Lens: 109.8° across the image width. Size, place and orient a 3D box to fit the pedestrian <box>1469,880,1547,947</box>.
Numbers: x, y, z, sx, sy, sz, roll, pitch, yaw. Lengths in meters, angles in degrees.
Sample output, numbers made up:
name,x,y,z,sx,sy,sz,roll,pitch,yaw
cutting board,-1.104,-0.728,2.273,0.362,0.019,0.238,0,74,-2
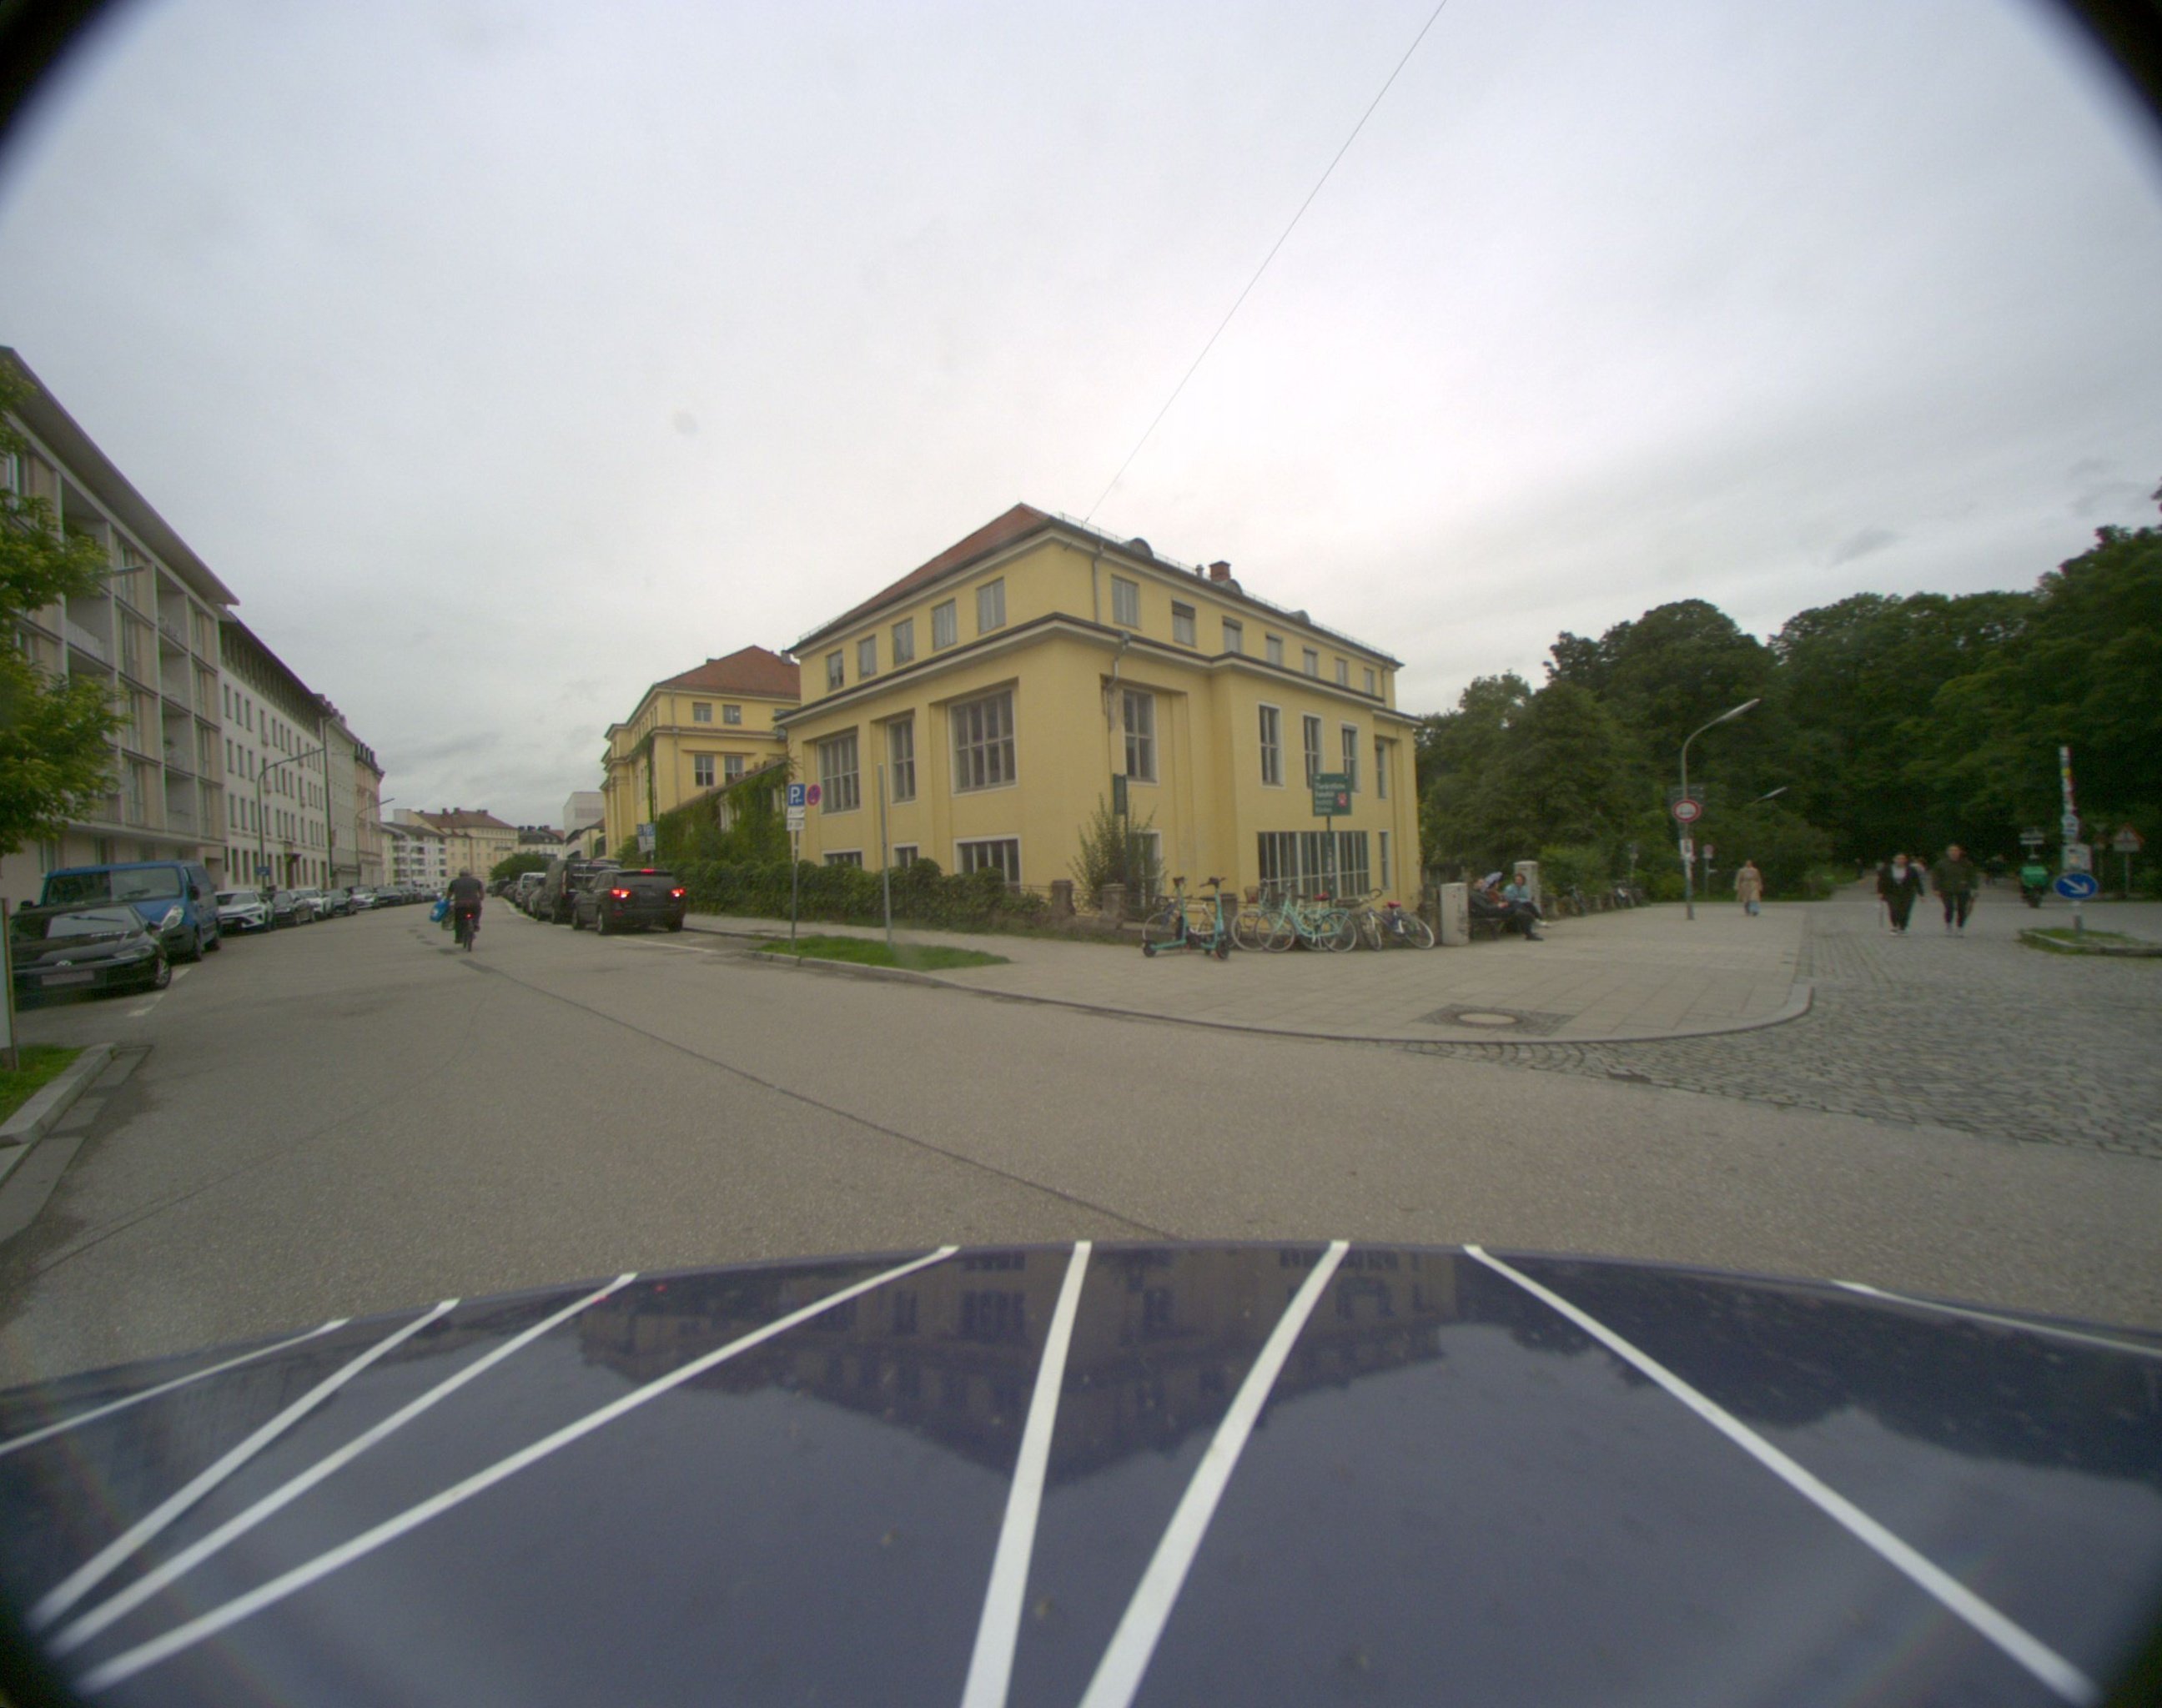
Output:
name,x,y,z,sx,sy,sz,roll,pitch,yaw
pedestrian,8.241,1.143,14.690,1.213,1.239,0.641,-3,-4,34

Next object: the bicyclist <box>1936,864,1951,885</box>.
name,x,y,z,sx,sy,sz,roll,pitch,yaw
bicyclist,52.726,1.240,46.456,0.563,1.258,0.763,-2,2,45

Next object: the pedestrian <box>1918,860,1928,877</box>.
name,x,y,z,sx,sy,sz,roll,pitch,yaw
pedestrian,63.714,1.068,57.472,0.470,1.258,0.449,-2,2,45

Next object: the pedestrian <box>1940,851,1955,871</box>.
name,x,y,z,sx,sy,sz,roll,pitch,yaw
pedestrian,74.040,0.574,64.919,0.923,1.661,0.741,2,-5,-45

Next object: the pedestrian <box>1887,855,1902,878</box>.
name,x,y,z,sx,sy,sz,roll,pitch,yaw
pedestrian,61.400,0.933,57.331,0.775,1.661,0.684,2,-5,-45

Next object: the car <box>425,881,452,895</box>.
name,x,y,z,sx,sy,sz,roll,pitch,yaw
car,-76.866,4.067,90.950,1.896,1.447,4.729,-7,2,-35

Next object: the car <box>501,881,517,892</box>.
name,x,y,z,sx,sy,sz,roll,pitch,yaw
car,-89.604,5.088,119.010,1.774,1.521,3.990,-3,1,-34

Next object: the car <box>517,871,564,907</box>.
name,x,y,z,sx,sy,sz,roll,pitch,yaw
car,-29.728,1.905,41.744,1.980,1.825,4.670,0,-1,-36

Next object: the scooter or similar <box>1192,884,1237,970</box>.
name,x,y,z,sx,sy,sz,roll,pitch,yaw
scooter or similar,2.016,1.078,11.524,0.323,1.205,1.117,-1,-1,-8

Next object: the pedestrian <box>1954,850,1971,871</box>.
name,x,y,z,sx,sy,sz,roll,pitch,yaw
pedestrian,74.578,0.553,64.287,0.923,1.661,0.741,2,-5,-45

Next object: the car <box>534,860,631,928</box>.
name,x,y,z,sx,sy,sz,roll,pitch,yaw
car,-16.714,1.267,25.379,1.981,2.059,4.669,0,-1,-42

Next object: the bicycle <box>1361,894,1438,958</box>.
name,x,y,z,sx,sy,sz,roll,pitch,yaw
bicycle,5.553,1.235,13.214,1.657,1.032,0.307,1,0,-31

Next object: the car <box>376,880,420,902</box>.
name,x,y,z,sx,sy,sz,roll,pitch,yaw
car,-53.066,2.874,59.122,1.896,1.447,4.729,-7,2,-35

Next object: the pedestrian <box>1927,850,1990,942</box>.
name,x,y,z,sx,sy,sz,roll,pitch,yaw
pedestrian,16.414,0.785,14.233,0.775,1.661,0.638,2,-5,-45

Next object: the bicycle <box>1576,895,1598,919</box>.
name,x,y,z,sx,sy,sz,roll,pitch,yaw
bicycle,15.005,1.572,22.539,0.911,0.672,0.215,1,0,-34

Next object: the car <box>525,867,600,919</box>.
name,x,y,z,sx,sy,sz,roll,pitch,yaw
car,-20.216,1.478,29.543,1.981,1.825,4.670,0,-1,-39

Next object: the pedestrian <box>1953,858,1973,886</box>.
name,x,y,z,sx,sy,sz,roll,pitch,yaw
pedestrian,53.457,1.103,46.060,0.775,1.661,0.684,2,-5,-45

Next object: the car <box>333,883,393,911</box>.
name,x,y,z,sx,sy,sz,roll,pitch,yaw
car,-44.020,2.597,46.672,1.896,1.447,4.729,-7,2,-35

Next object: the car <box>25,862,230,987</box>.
name,x,y,z,sx,sy,sz,roll,pitch,yaw
car,-20.354,1.339,16.481,1.987,2.158,4.700,-7,5,-44

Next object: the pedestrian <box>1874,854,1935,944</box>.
name,x,y,z,sx,sy,sz,roll,pitch,yaw
pedestrian,15.883,0.868,14.675,0.775,1.661,0.684,2,-5,-45

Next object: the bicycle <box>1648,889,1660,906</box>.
name,x,y,z,sx,sy,sz,roll,pitch,yaw
bicycle,23.172,1.750,30.724,0.911,0.653,0.241,1,-1,-45

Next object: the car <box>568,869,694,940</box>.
name,x,y,z,sx,sy,sz,roll,pitch,yaw
car,-12.479,1.319,20.917,1.941,1.698,4.613,0,-1,-44

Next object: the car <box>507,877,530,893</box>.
name,x,y,z,sx,sy,sz,roll,pitch,yaw
car,-65.672,3.578,88.658,1.981,1.825,4.670,0,-1,-38

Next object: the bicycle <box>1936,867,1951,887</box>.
name,x,y,z,sx,sy,sz,roll,pitch,yaw
bicycle,52.747,1.406,46.450,0.463,1.054,1.765,-2,2,45

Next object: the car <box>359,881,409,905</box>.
name,x,y,z,sx,sy,sz,roll,pitch,yaw
car,-49.563,2.745,54.105,1.896,1.447,4.729,-7,2,-35

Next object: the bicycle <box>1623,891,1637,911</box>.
name,x,y,z,sx,sy,sz,roll,pitch,yaw
bicycle,19.906,1.697,27.555,0.911,0.672,0.215,1,-1,-43

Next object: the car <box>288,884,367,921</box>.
name,x,y,z,sx,sy,sz,roll,pitch,yaw
car,-37.036,2.336,37.463,1.896,1.447,4.591,-7,2,-35

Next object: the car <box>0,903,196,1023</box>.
name,x,y,z,sx,sy,sz,roll,pitch,yaw
car,-15.893,1.635,12.161,1.783,1.388,3.794,-7,4,-44

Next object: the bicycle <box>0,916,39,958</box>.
name,x,y,z,sx,sy,sz,roll,pitch,yaw
bicycle,-29.245,2.261,20.888,1.960,1.046,0.438,-2,-1,44

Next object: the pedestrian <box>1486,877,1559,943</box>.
name,x,y,z,sx,sy,sz,roll,pitch,yaw
pedestrian,8.916,1.129,15.353,1.175,1.285,0.641,-3,-4,34

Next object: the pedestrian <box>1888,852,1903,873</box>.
name,x,y,z,sx,sy,sz,roll,pitch,yaw
pedestrian,66.286,0.733,61.826,0.775,1.661,0.684,2,-5,-45

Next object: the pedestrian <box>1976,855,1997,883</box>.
name,x,y,z,sx,sy,sz,roll,pitch,yaw
pedestrian,55.745,0.947,46.786,0.775,1.661,0.684,2,-5,-45

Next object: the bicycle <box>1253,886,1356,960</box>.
name,x,y,z,sx,sy,sz,roll,pitch,yaw
bicycle,3.668,1.133,12.484,1.654,1.191,0.169,1,0,-4

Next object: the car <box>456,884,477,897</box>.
name,x,y,z,sx,sy,sz,roll,pitch,yaw
car,-73.298,4.314,90.703,1.797,1.334,3.826,-3,1,-38

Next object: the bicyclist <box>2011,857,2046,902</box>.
name,x,y,z,sx,sy,sz,roll,pitch,yaw
bicyclist,29.544,0.798,23.705,0.563,1.366,0.763,-2,-2,45

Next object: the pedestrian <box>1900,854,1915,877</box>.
name,x,y,z,sx,sy,sz,roll,pitch,yaw
pedestrian,63.536,0.898,58.397,0.775,1.661,0.684,2,-5,-45

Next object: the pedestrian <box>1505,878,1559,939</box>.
name,x,y,z,sx,sy,sz,roll,pitch,yaw
pedestrian,9.386,1.132,15.807,0.885,1.227,0.552,-3,-4,34

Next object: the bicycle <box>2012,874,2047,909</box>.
name,x,y,z,sx,sy,sz,roll,pitch,yaw
bicycle,29.533,1.145,23.668,0.463,1.053,1.765,-2,-2,45

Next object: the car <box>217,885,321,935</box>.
name,x,y,z,sx,sy,sz,roll,pitch,yaw
car,-31.401,2.104,29.537,1.964,1.553,4.600,-7,2,-38

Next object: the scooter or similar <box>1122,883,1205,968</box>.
name,x,y,z,sx,sy,sz,roll,pitch,yaw
scooter or similar,1.320,1.097,12.018,1.393,1.240,0.396,0,-1,-37

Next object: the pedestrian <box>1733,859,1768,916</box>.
name,x,y,z,sx,sy,sz,roll,pitch,yaw
pedestrian,20.368,1.030,23.106,0.977,1.675,0.652,2,-5,-45

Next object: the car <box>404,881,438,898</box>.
name,x,y,z,sx,sy,sz,roll,pitch,yaw
car,-63.237,3.370,72.857,1.896,1.447,4.729,-7,2,-35

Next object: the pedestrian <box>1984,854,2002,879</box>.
name,x,y,z,sx,sy,sz,roll,pitch,yaw
pedestrian,63.501,0.895,52.913,0.775,1.661,0.684,2,-5,-45

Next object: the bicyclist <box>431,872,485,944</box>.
name,x,y,z,sx,sy,sz,roll,pitch,yaw
bicyclist,-13.078,1.101,15.962,0.844,1.449,0.742,0,-1,-40

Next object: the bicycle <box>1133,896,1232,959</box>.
name,x,y,z,sx,sy,sz,roll,pitch,yaw
bicycle,1.717,1.224,12.912,1.650,0.987,0.249,0,0,21

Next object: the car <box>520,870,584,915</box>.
name,x,y,z,sx,sy,sz,roll,pitch,yaw
car,-23.505,1.650,33.687,1.981,1.825,4.670,0,-1,-39

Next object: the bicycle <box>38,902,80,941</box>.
name,x,y,z,sx,sy,sz,roll,pitch,yaw
bicycle,-29.274,1.912,21.781,1.836,1.046,0.464,-2,-1,44

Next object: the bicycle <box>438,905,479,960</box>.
name,x,y,z,sx,sy,sz,roll,pitch,yaw
bicycle,-13.086,1.619,15.972,0.624,1.011,1.713,0,-1,-40

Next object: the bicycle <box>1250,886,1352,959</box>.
name,x,y,z,sx,sy,sz,roll,pitch,yaw
bicycle,3.668,1.143,12.683,1.654,1.184,0.202,1,0,-4

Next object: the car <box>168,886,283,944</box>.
name,x,y,z,sx,sy,sz,roll,pitch,yaw
car,-28.361,1.971,25.341,1.987,1.553,4.702,-7,3,-43

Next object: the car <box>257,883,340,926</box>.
name,x,y,z,sx,sy,sz,roll,pitch,yaw
car,-34.283,2.180,33.413,1.921,1.553,4.079,-7,2,-39
